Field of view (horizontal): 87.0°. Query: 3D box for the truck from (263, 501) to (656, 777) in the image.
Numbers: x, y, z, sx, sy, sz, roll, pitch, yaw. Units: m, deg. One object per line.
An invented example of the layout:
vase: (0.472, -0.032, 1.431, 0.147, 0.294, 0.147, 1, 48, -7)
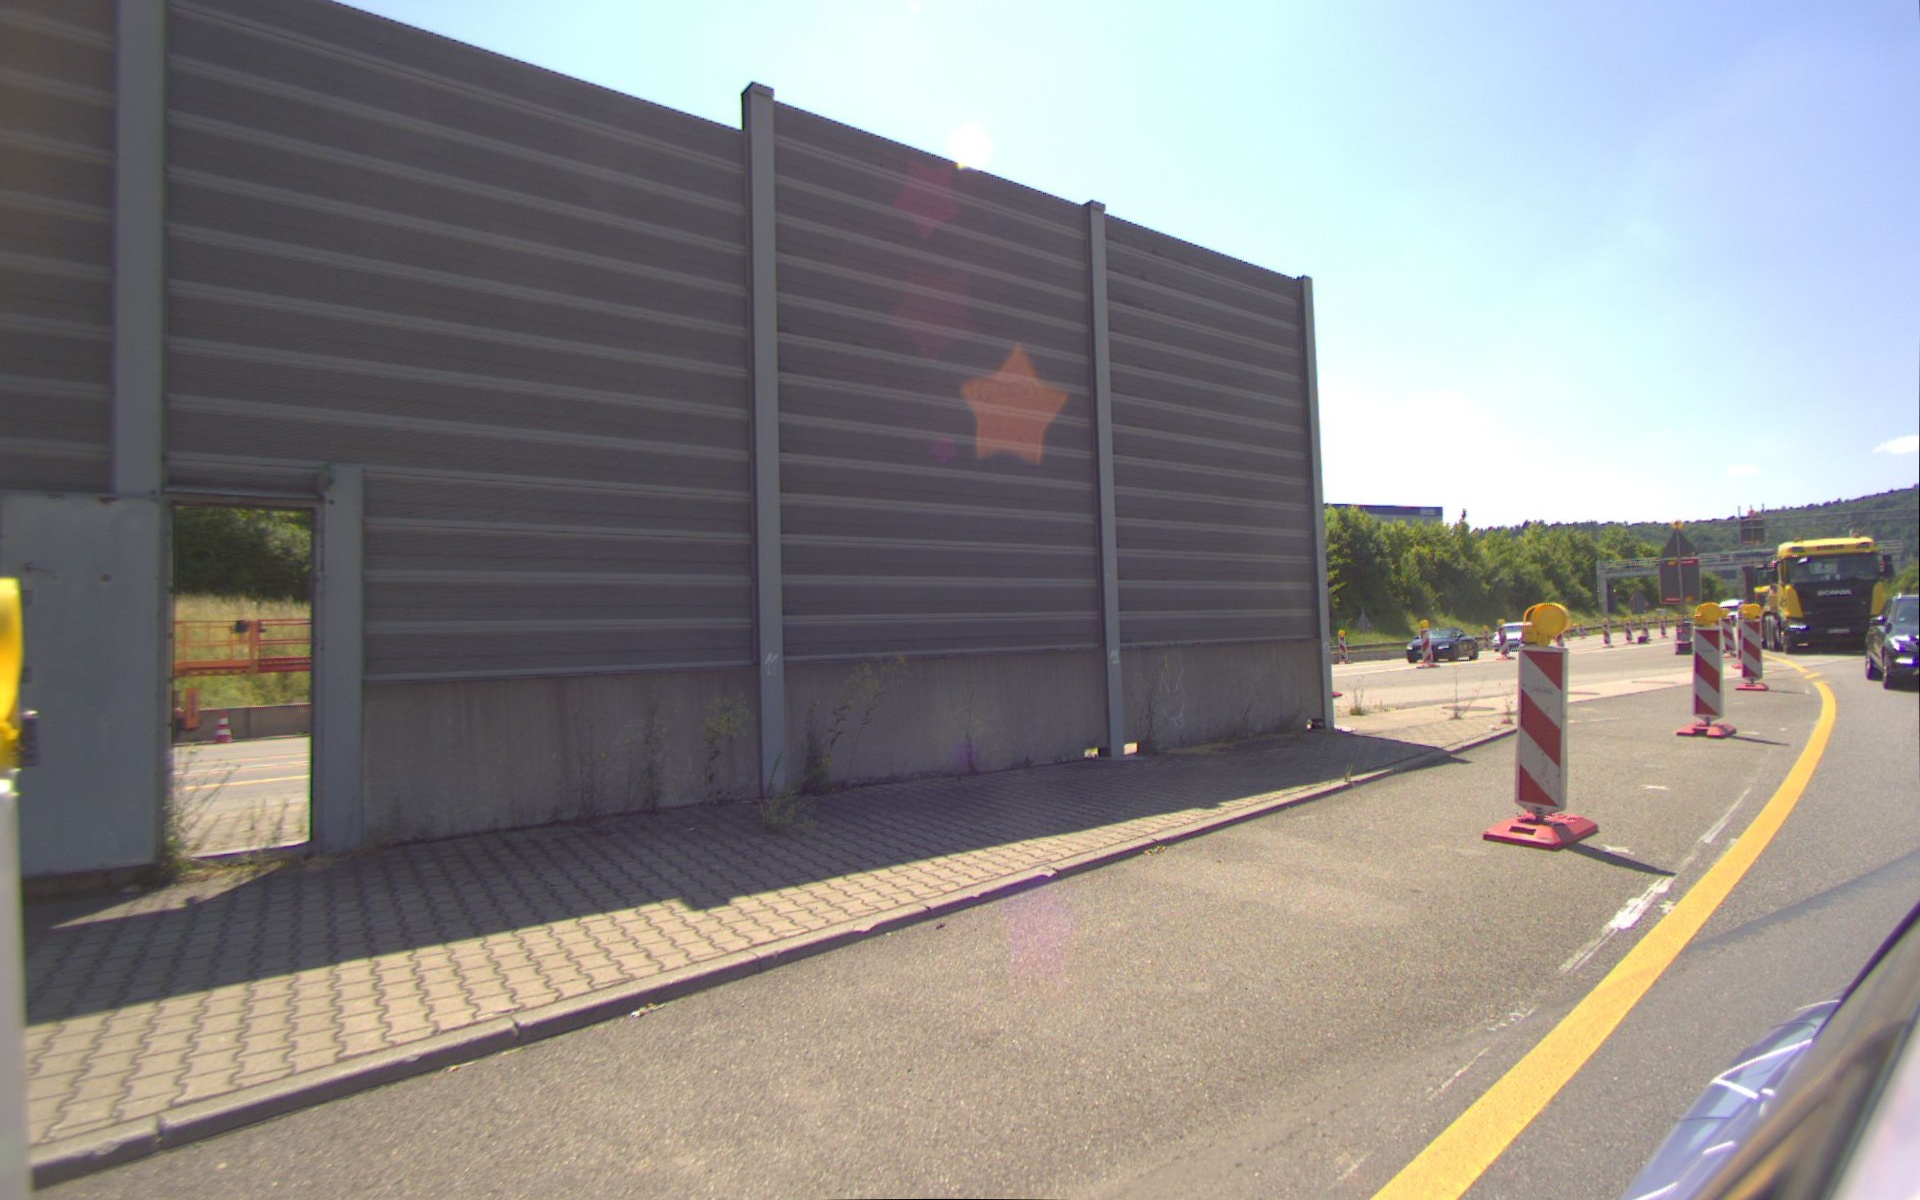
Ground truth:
truck: (-8.475, 0.641, 17.490, 5.508, 4.003, 2.527, 0, -5, -45)

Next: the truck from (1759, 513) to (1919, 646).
truck: (28.942, -0.502, 33.386, 3.208, 3.709, 6.995, -6, -4, 34)

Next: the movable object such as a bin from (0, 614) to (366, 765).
movable object such as a bin: (-21.676, 2.022, 22.333, 14.461, 3.049, 3.112, -1, -2, -45)

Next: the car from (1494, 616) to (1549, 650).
car: (32.946, 1.932, 59.325, 1.813, 1.717, 4.426, -6, -4, 42)

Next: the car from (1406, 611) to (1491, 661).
car: (19.803, 1.426, 40.917, 1.813, 1.717, 4.426, -7, -4, 41)

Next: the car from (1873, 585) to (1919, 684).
car: (18.434, 0.574, 18.730, 1.810, 1.717, 4.433, -2, -1, 37)

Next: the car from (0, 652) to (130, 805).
car: (-11.512, 1.483, 10.850, 3.963, 1.573, 1.707, -1, -4, -42)

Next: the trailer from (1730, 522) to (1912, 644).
trailer: (33.638, -0.364, 40.387, 3.215, 3.716, 17.206, -6, -4, 34)
